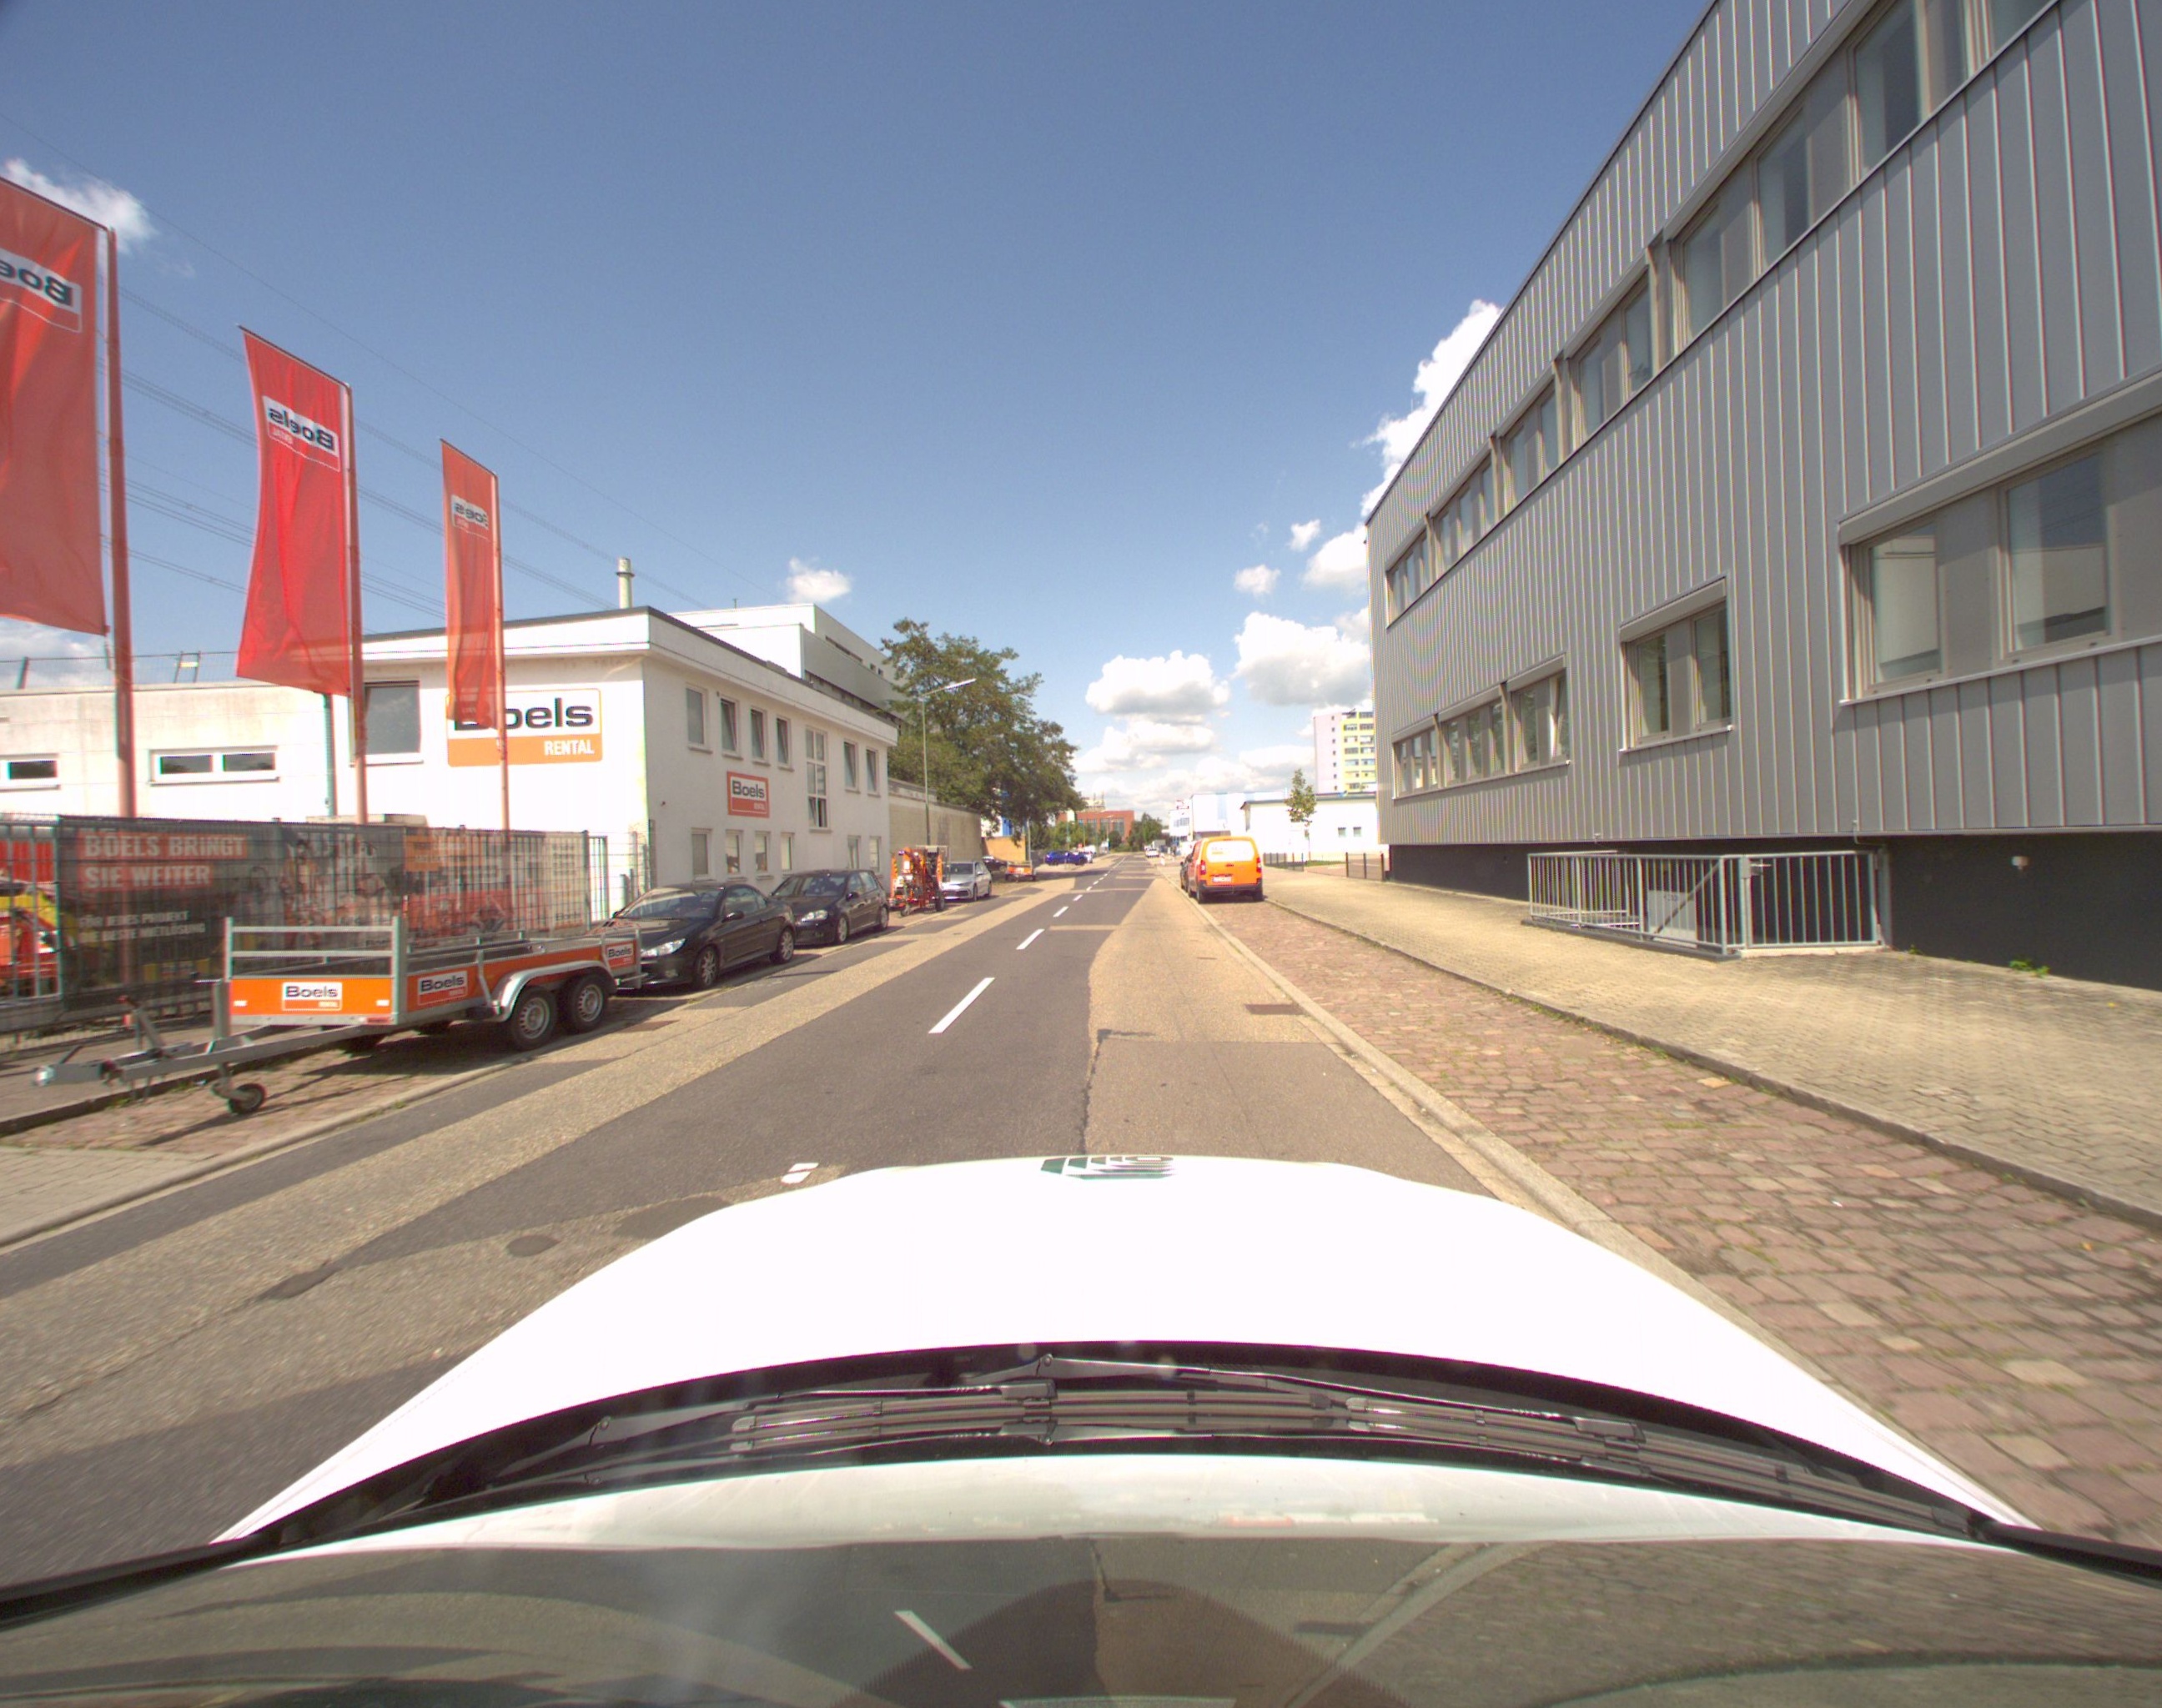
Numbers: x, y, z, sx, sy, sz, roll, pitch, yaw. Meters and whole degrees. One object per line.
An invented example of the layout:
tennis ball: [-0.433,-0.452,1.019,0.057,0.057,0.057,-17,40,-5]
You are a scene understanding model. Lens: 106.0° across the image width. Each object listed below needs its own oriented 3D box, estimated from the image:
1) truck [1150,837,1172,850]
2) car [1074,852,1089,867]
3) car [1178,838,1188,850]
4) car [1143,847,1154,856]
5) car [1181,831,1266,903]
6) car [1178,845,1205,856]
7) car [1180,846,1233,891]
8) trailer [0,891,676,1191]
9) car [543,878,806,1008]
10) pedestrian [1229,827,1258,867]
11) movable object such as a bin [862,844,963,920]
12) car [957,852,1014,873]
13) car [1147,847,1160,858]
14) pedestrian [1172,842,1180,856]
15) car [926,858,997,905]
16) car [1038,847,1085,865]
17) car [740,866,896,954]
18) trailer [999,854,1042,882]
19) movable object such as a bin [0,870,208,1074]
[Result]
truck: [24.291,-3.257,247.296,2.298,3.567,9.429,-1,2,34]
car: [0.096,0.600,96.955,1.680,1.664,4.000,-2,1,0]
car: [22.012,-2.177,175.550,1.915,2.463,5.266,-2,0,4]
car: [11.564,-0.401,139.748,1.827,1.520,4.466,-2,0,3]
car: [4.114,0.320,24.209,1.865,1.892,4.455,1,1,2]
car: [17.989,-0.572,132.737,4.260,1.420,2.003,-4,1,4]
car: [4.633,0.497,30.423,1.651,1.557,4.183,0,1,5]
trailer: [-5.749,1.167,7.063,1.760,1.376,5.054,-1,0,2]
car: [-5.526,1.121,11.684,1.666,1.376,3.886,-1,0,2]
pedestrian: [8.383,-0.346,42.014,0.993,1.951,1.084,-4,0,-19]
movable object such as a bin: [-4.817,0.706,23.972,1.607,1.918,5.143,1,1,3]
car: [-7.245,0.646,61.942,3.972,1.362,1.798,3,1,7]
car: [11.233,-0.245,127.142,1.859,1.520,4.602,-2,0,3]
pedestrian: [12.141,-0.622,104.070,0.766,1.756,0.788,-5,0,3]
car: [-4.190,0.920,29.194,1.666,1.455,4.516,-1,0,2]
car: [-2.055,0.210,86.165,4.686,1.593,1.909,-4,1,-10]
car: [-5.198,1.033,16.721,1.666,1.455,4.226,-1,0,2]
trailer: [-3.332,0.742,45.654,1.759,1.439,4.341,0,1,4]
movable object such as a bin: [-14.649,1.330,8.909,7.583,2.005,1.903,-2,1,-4]
